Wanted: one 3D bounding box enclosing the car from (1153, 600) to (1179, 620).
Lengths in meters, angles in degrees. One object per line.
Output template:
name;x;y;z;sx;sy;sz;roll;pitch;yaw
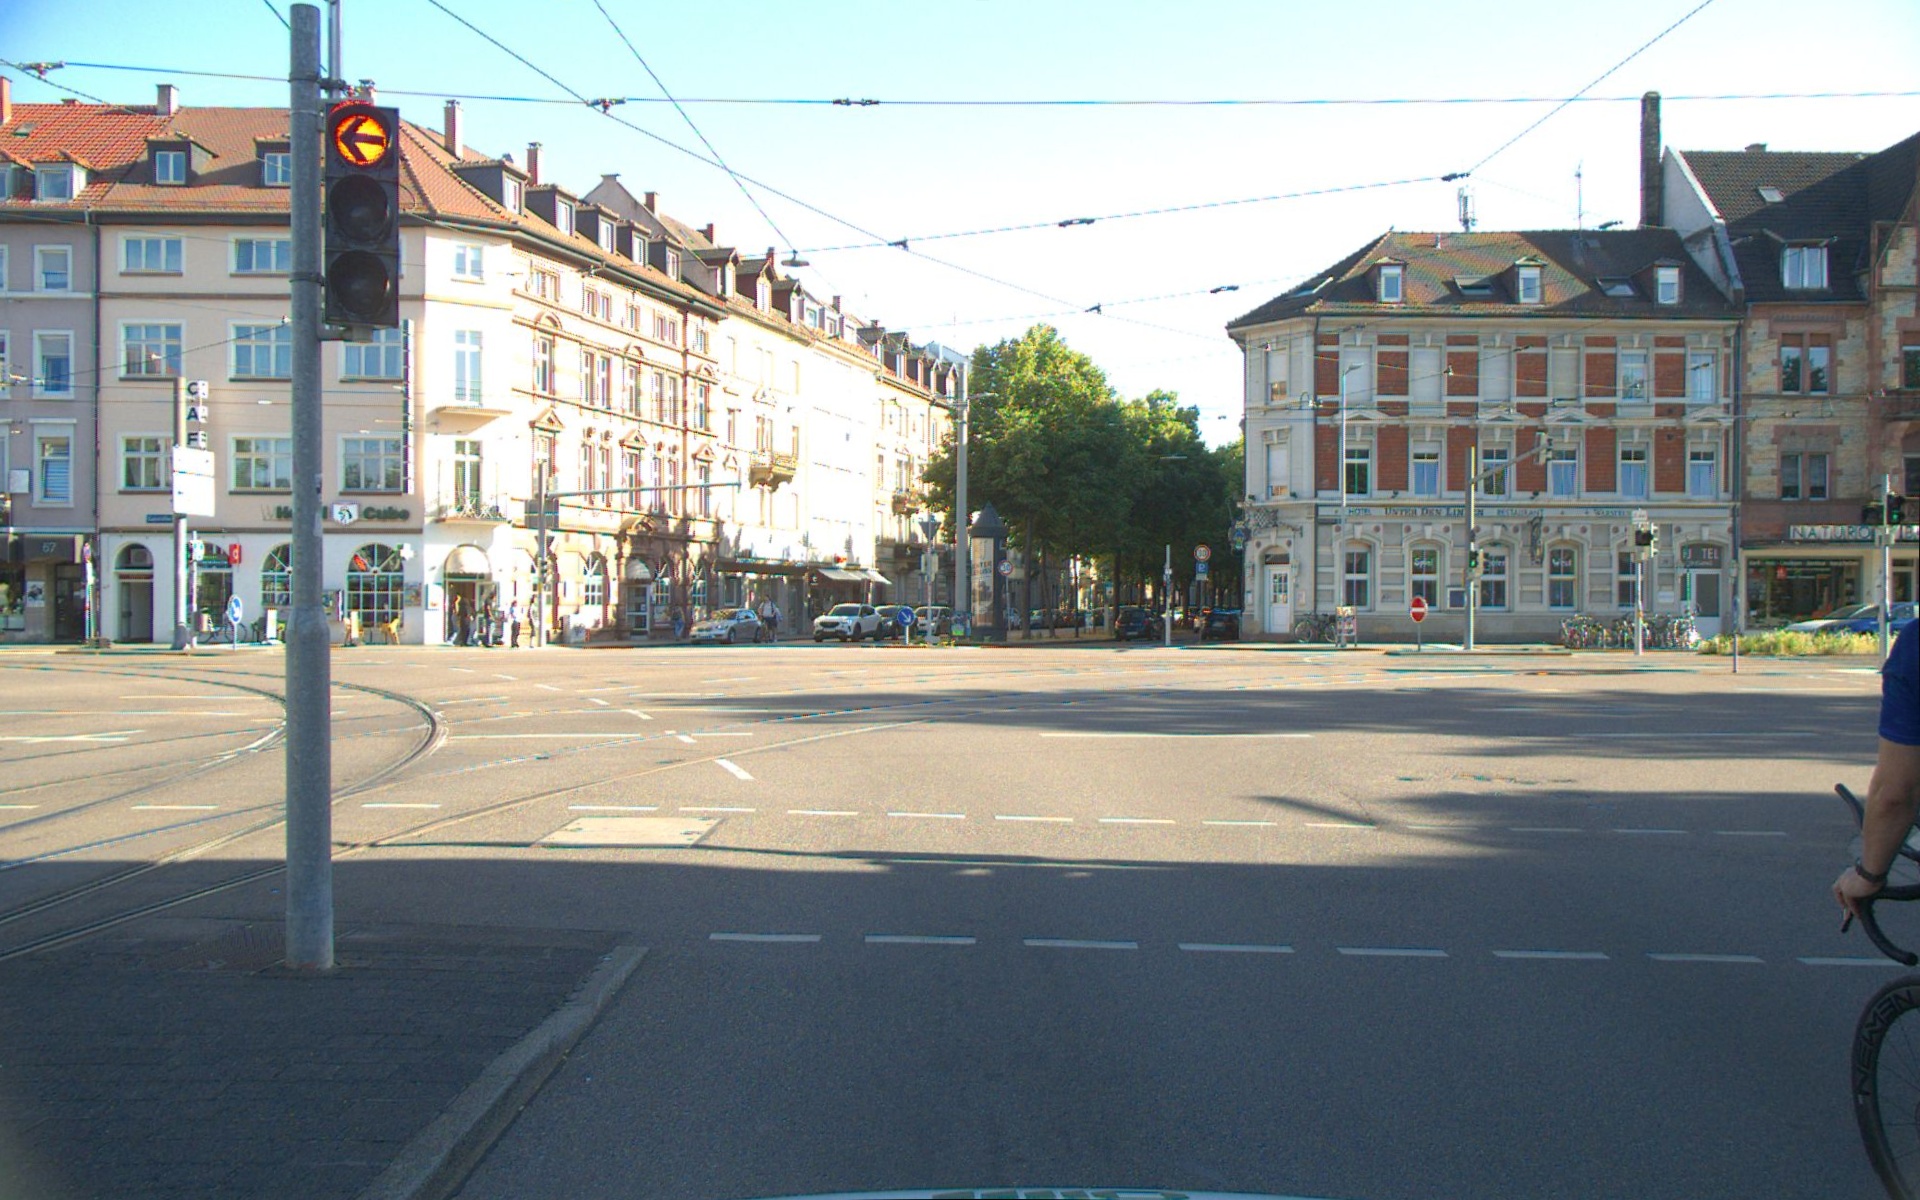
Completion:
car;16.770;0.833;134.760;1.526;1.540;3.658;1;0;16

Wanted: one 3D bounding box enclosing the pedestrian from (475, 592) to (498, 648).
pedestrian;-16.156;0.685;56.448;0.620;1.914;0.465;1;-1;-5

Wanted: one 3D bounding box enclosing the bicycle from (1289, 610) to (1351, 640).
bicycle;12.459;0.870;57.257;2.006;1.015;0.631;1;0;2

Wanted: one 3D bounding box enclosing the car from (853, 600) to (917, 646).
car;-3.299;1.010;73.620;1.951;1.937;4.003;1;0;11

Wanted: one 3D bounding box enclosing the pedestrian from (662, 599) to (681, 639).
pedestrian;-12.064;0.782;69.232;0.532;1.660;0.707;1;-1;13

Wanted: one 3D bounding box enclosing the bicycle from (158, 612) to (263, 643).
bicycle;-25.519;0.939;56.342;3.066;0.997;1.001;1;0;-1

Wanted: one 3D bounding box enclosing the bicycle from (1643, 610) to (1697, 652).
bicycle;22.796;0.968;53.163;0.615;1.309;2.661;1;0;0

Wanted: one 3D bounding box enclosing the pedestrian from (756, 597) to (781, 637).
pedestrian;-7.543;0.665;65.077;0.803;1.539;0.598;1;-1;14

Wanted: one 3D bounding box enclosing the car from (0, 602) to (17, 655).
car;-32.389;0.910;52.421;3.902;1.699;2.002;0;0;8

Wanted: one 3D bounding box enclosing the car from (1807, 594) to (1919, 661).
car;25.929;0.770;46.038;3.706;1.809;1.999;1;0;-2

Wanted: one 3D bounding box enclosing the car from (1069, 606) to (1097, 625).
car;10.153;1.268;136.204;1.526;1.540;3.658;1;0;16

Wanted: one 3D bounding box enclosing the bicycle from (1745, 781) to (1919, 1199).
bicycle;2.189;0.993;3.159;0.613;1.104;1.703;1;0;2

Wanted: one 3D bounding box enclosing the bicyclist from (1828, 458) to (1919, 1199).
bicyclist;2.197;0.488;3.148;0.625;1.520;0.884;1;1;3

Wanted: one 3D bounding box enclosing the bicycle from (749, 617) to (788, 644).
bicycle;-7.531;1.204;65.148;0.746;1.025;2.398;1;0;13

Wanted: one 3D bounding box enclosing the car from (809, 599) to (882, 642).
car;-4.609;0.826;67.160;1.951;1.646;4.003;1;0;11

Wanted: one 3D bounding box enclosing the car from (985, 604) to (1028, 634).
car;3.182;1.286;112.726;1.951;1.937;4.002;1;0;16

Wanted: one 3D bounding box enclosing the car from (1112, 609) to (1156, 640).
car;8.217;1.151;77.940;1.716;1.386;3.859;1;0;11

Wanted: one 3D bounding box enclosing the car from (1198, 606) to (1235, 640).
car;12.867;1.140;82.764;1.655;1.592;3.844;1;0;11

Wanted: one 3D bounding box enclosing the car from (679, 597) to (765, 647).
car;-9.597;0.873;66.956;1.951;1.937;4.002;1;0;17

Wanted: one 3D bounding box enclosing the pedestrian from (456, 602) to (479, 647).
pedestrian;-16.548;0.829;55.594;0.620;1.502;0.465;1;-1;-5

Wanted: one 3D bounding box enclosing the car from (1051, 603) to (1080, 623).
car;8.466;1.029;132.064;1.526;1.540;3.658;1;0;16

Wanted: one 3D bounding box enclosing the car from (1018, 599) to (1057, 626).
car;5.738;0.918;122.431;1.951;1.937;4.002;1;0;16

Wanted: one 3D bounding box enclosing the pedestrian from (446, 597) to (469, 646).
pedestrian;-17.121;0.732;56.359;0.620;1.640;0.465;1;-1;-5

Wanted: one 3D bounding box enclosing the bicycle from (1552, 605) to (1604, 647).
bicycle;19.806;0.814;53.052;0.678;1.309;2.661;1;0;0

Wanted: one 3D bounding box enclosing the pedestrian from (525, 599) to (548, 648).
pedestrian;-14.572;0.802;56.977;0.620;1.662;0.700;1;-1;-4

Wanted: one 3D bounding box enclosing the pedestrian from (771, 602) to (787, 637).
pedestrian;-8.625;0.938;78.938;0.532;1.660;0.707;1;-1;13

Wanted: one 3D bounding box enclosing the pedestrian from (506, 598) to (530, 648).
pedestrian;-14.862;0.756;55.662;0.620;1.662;0.700;1;-1;-4

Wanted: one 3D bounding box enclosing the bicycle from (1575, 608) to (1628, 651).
bicycle;20.593;0.931;53.115;0.678;1.309;2.661;1;0;0

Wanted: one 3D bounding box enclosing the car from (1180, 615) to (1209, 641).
car;14.810;1.726;104.407;1.734;1.557;4.003;1;0;9

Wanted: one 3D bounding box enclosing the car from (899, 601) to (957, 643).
car;-1.525;1.066;79.697;1.951;1.937;4.003;1;0;11

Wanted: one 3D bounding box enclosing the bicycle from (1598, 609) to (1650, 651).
bicycle;21.304;0.940;53.137;0.615;1.309;2.661;1;0;0

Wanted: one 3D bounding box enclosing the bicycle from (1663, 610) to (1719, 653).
bicycle;23.480;0.993;53.162;0.615;1.309;2.661;1;0;0

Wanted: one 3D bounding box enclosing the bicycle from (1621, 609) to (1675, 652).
bicycle;22.081;0.964;53.139;0.615;1.309;2.661;1;0;0
